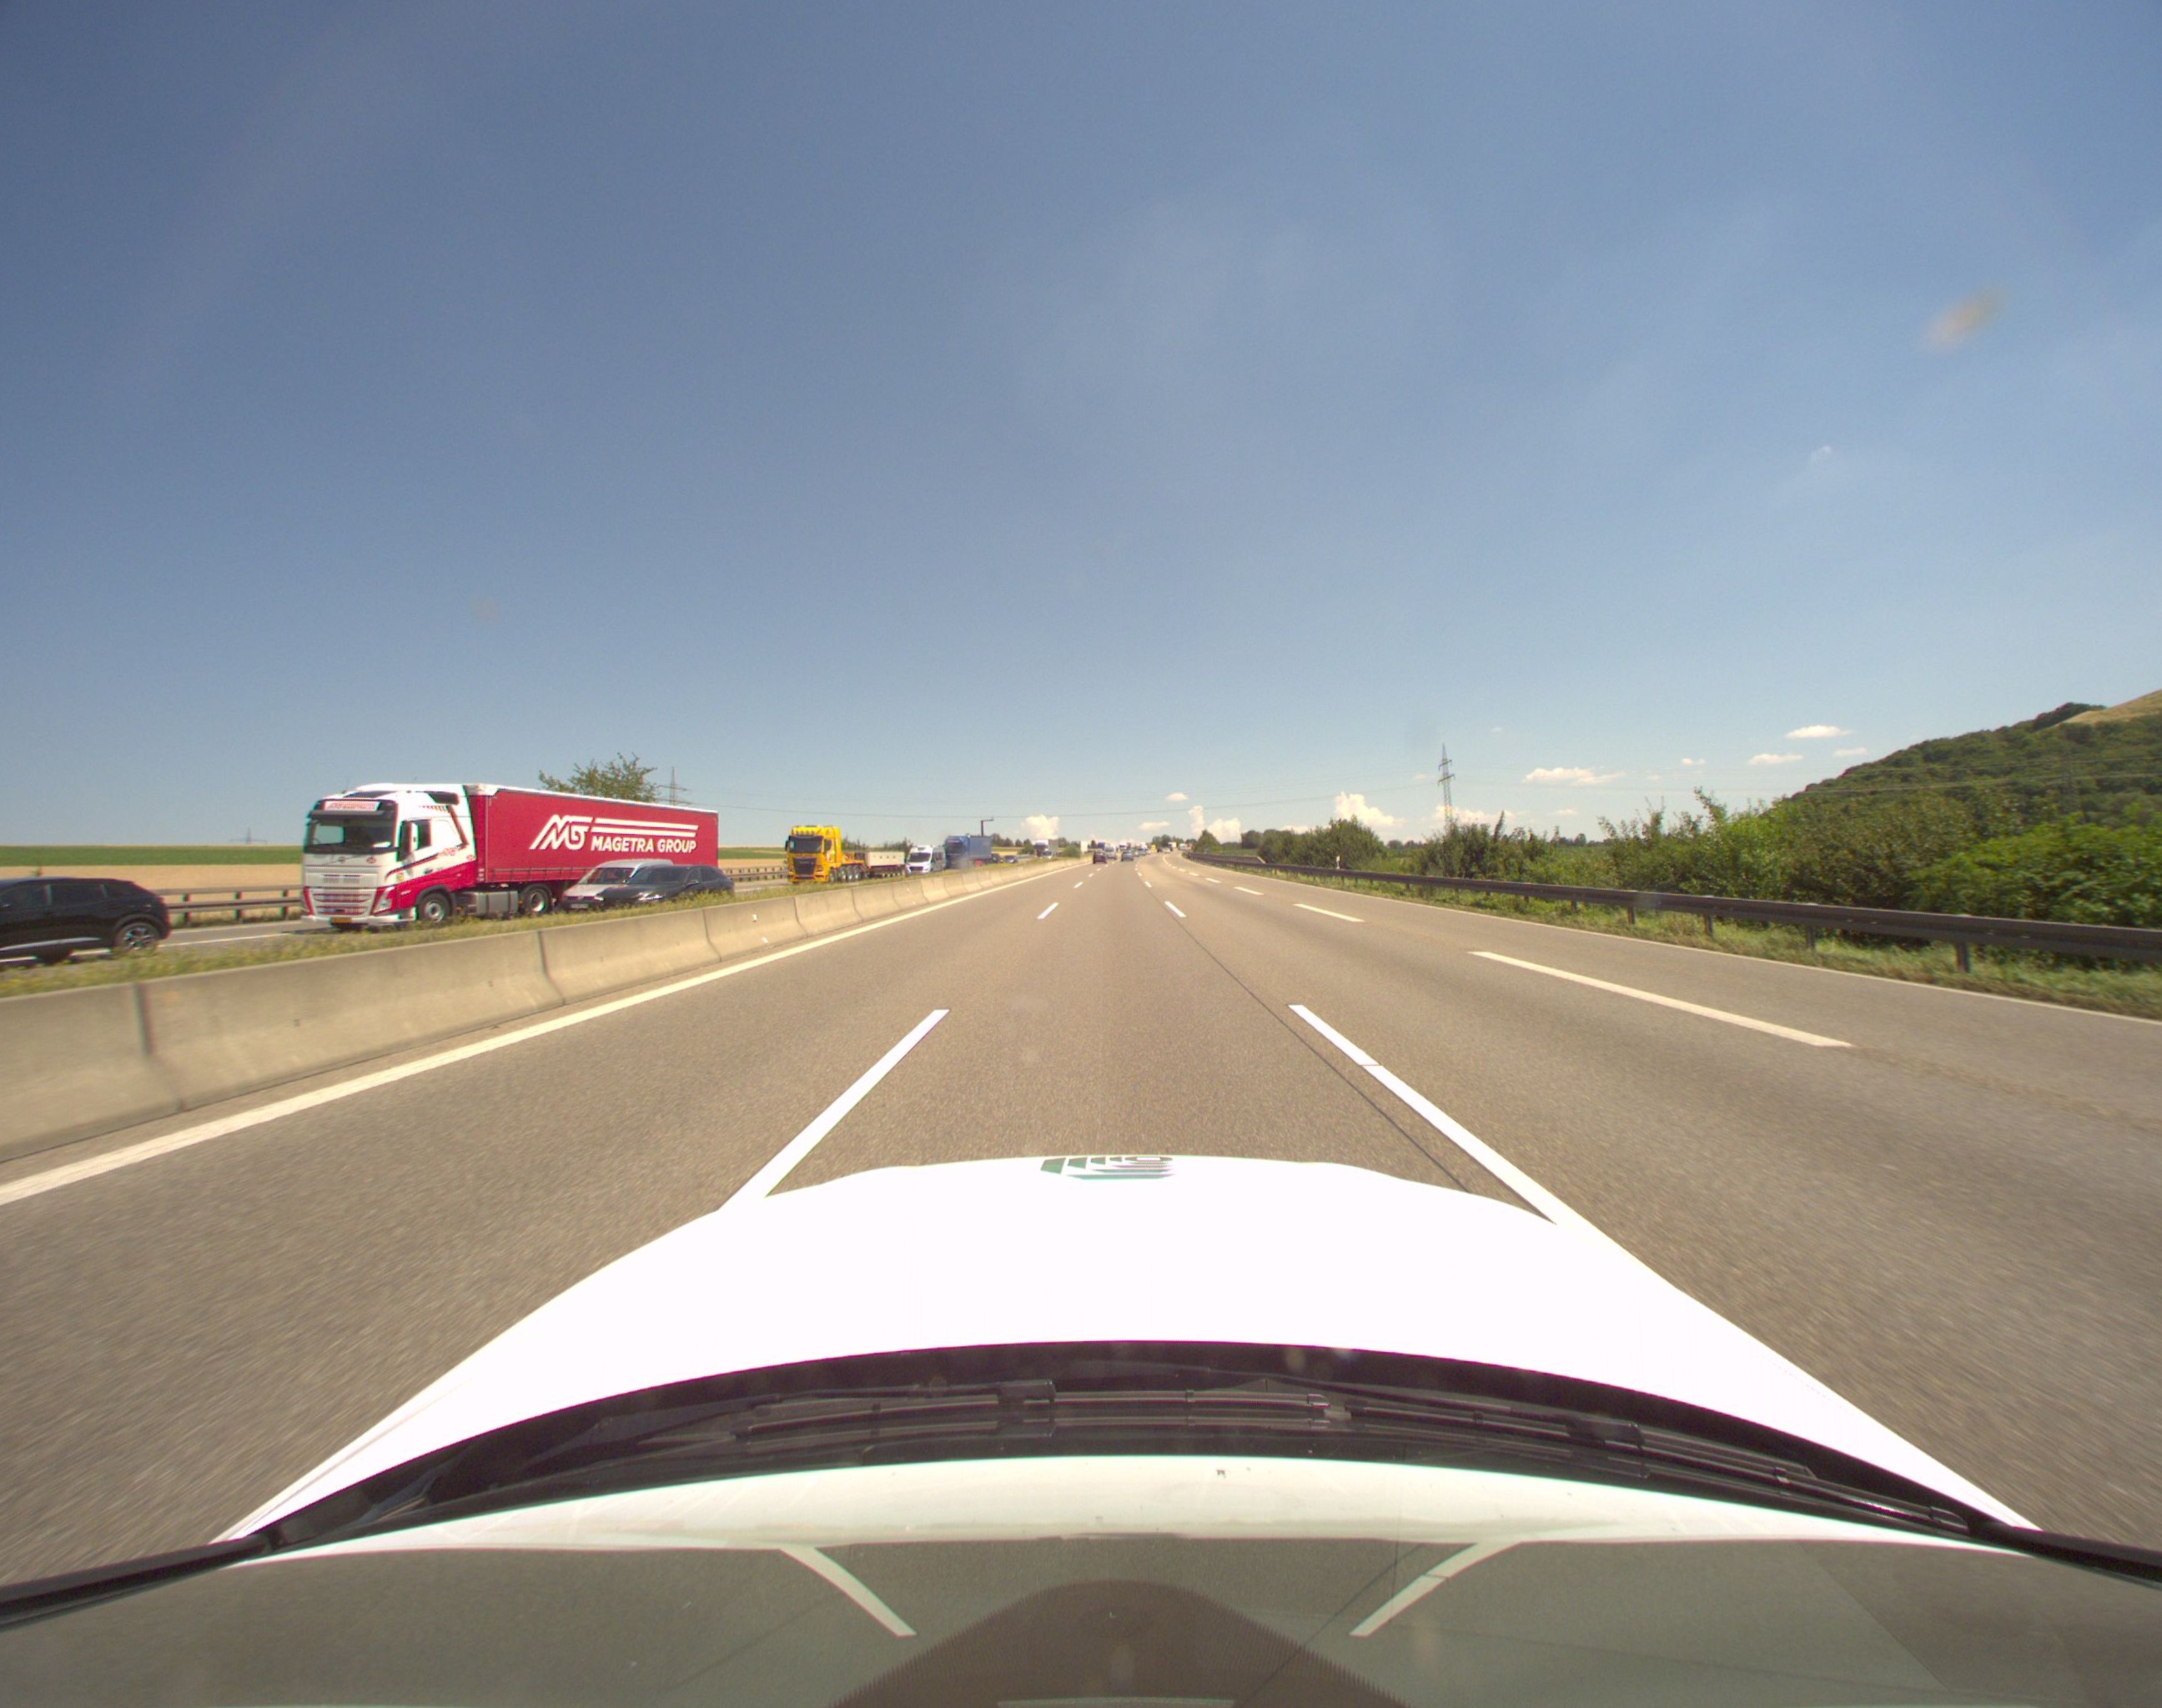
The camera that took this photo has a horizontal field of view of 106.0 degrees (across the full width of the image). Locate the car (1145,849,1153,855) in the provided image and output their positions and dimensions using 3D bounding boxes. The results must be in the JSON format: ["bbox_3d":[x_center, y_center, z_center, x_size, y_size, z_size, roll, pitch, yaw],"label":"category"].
[{"bbox_3d":[18.226,-0.483,218.937,1.983,1.552,4.008,0,1,7],"label":"car"}]

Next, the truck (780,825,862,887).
[{"bbox_3d":[-17.216,0.110,54.411,2.738,3.837,7.106,-1,0,4],"label":"truck"}]

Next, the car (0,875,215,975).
[{"bbox_3d":[-18.553,1.214,14.217,1.831,1.631,4.604,-1,-2,1],"label":"car"}]

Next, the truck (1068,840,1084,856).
[{"bbox_3d":[-1.319,-1.543,221.813,3.209,4.206,7.140,-1,0,7],"label":"truck"}]

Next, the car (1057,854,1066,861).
[{"bbox_3d":[-4.041,0.653,168.068,1.618,1.404,3.732,-1,0,1],"label":"car"}]

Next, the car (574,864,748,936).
[{"bbox_3d":[-11.371,1.149,22.597,2.042,1.696,5.256,-1,0,1],"label":"car"}]

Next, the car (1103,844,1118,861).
[{"bbox_3d":[5.081,-0.230,137.718,2.169,2.625,4.679,-1,-2,6],"label":"car"}]

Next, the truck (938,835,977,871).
[{"bbox_3d":[-14.600,-0.089,96.697,3.062,4.090,6.943,-1,0,4],"label":"truck"}]

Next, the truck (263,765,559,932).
[{"bbox_3d":[-18.540,-0.125,23.229,3.023,4.082,6.318,-1,0,2],"label":"truck"}]

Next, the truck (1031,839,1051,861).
[{"bbox_3d":[-8.250,-0.825,167.961,3.116,4.328,6.158,-1,0,6],"label":"truck"}]

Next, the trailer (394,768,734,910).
[{"bbox_3d":[-18.171,-0.426,30.951,3.073,4.100,14.392,-1,0,3],"label":"trailer"}]

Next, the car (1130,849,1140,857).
[{"bbox_3d":[11.233,-0.181,169.876,1.986,1.585,4.002,-2,-1,2],"label":"car"}]

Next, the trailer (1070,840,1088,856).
[{"bbox_3d":[-0.529,-1.674,228.989,3.225,4.387,14.055,-1,0,7],"label":"trailer"}]

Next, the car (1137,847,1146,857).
[{"bbox_3d":[13.989,-0.460,187.821,1.986,1.904,4.001,-1,-2,2],"label":"car"}]

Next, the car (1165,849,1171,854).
[{"bbox_3d":[26.885,-0.826,251.811,1.892,1.442,4.007,-1,0,6],"label":"car"}]

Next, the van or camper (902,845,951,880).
[{"bbox_3d":[-12.226,0.660,64.961,2.302,2.586,7.147,-1,0,2],"label":"van or camper"}]

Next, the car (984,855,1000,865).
[{"bbox_3d":[-13.199,0.812,120.724,1.650,1.385,4.355,-1,0,4],"label":"car"}]

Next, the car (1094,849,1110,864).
[{"bbox_3d":[2.790,0.340,109.154,1.838,1.861,4.212,-1,1,6],"label":"car"}]

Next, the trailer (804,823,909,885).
[{"bbox_3d":[-16.604,-0.040,61.839,2.939,4.100,14.397,-1,0,4],"label":"trailer"}]

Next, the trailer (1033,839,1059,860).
[{"bbox_3d":[-7.400,-0.874,175.170,3.107,4.324,14.572,-1,0,7],"label":"trailer"}]

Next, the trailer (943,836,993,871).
[{"bbox_3d":[-14.093,-0.065,103.190,3.147,4.194,14.397,0,0,4],"label":"trailer"}]

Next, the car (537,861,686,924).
[{"bbox_3d":[-14.697,1.137,25.851,1.907,1.772,4.762,-1,0,1],"label":"car"}]

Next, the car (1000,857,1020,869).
[{"bbox_3d":[-9.317,1.196,106.946,1.905,1.541,5.747,-1,0,3],"label":"car"}]

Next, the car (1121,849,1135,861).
[{"bbox_3d":[7.194,0.190,124.511,1.984,1.750,4.004,-1,-2,4],"label":"car"}]

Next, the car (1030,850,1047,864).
[{"bbox_3d":[-6.191,0.393,119.326,1.905,1.970,5.451,-1,0,3],"label":"car"}]
